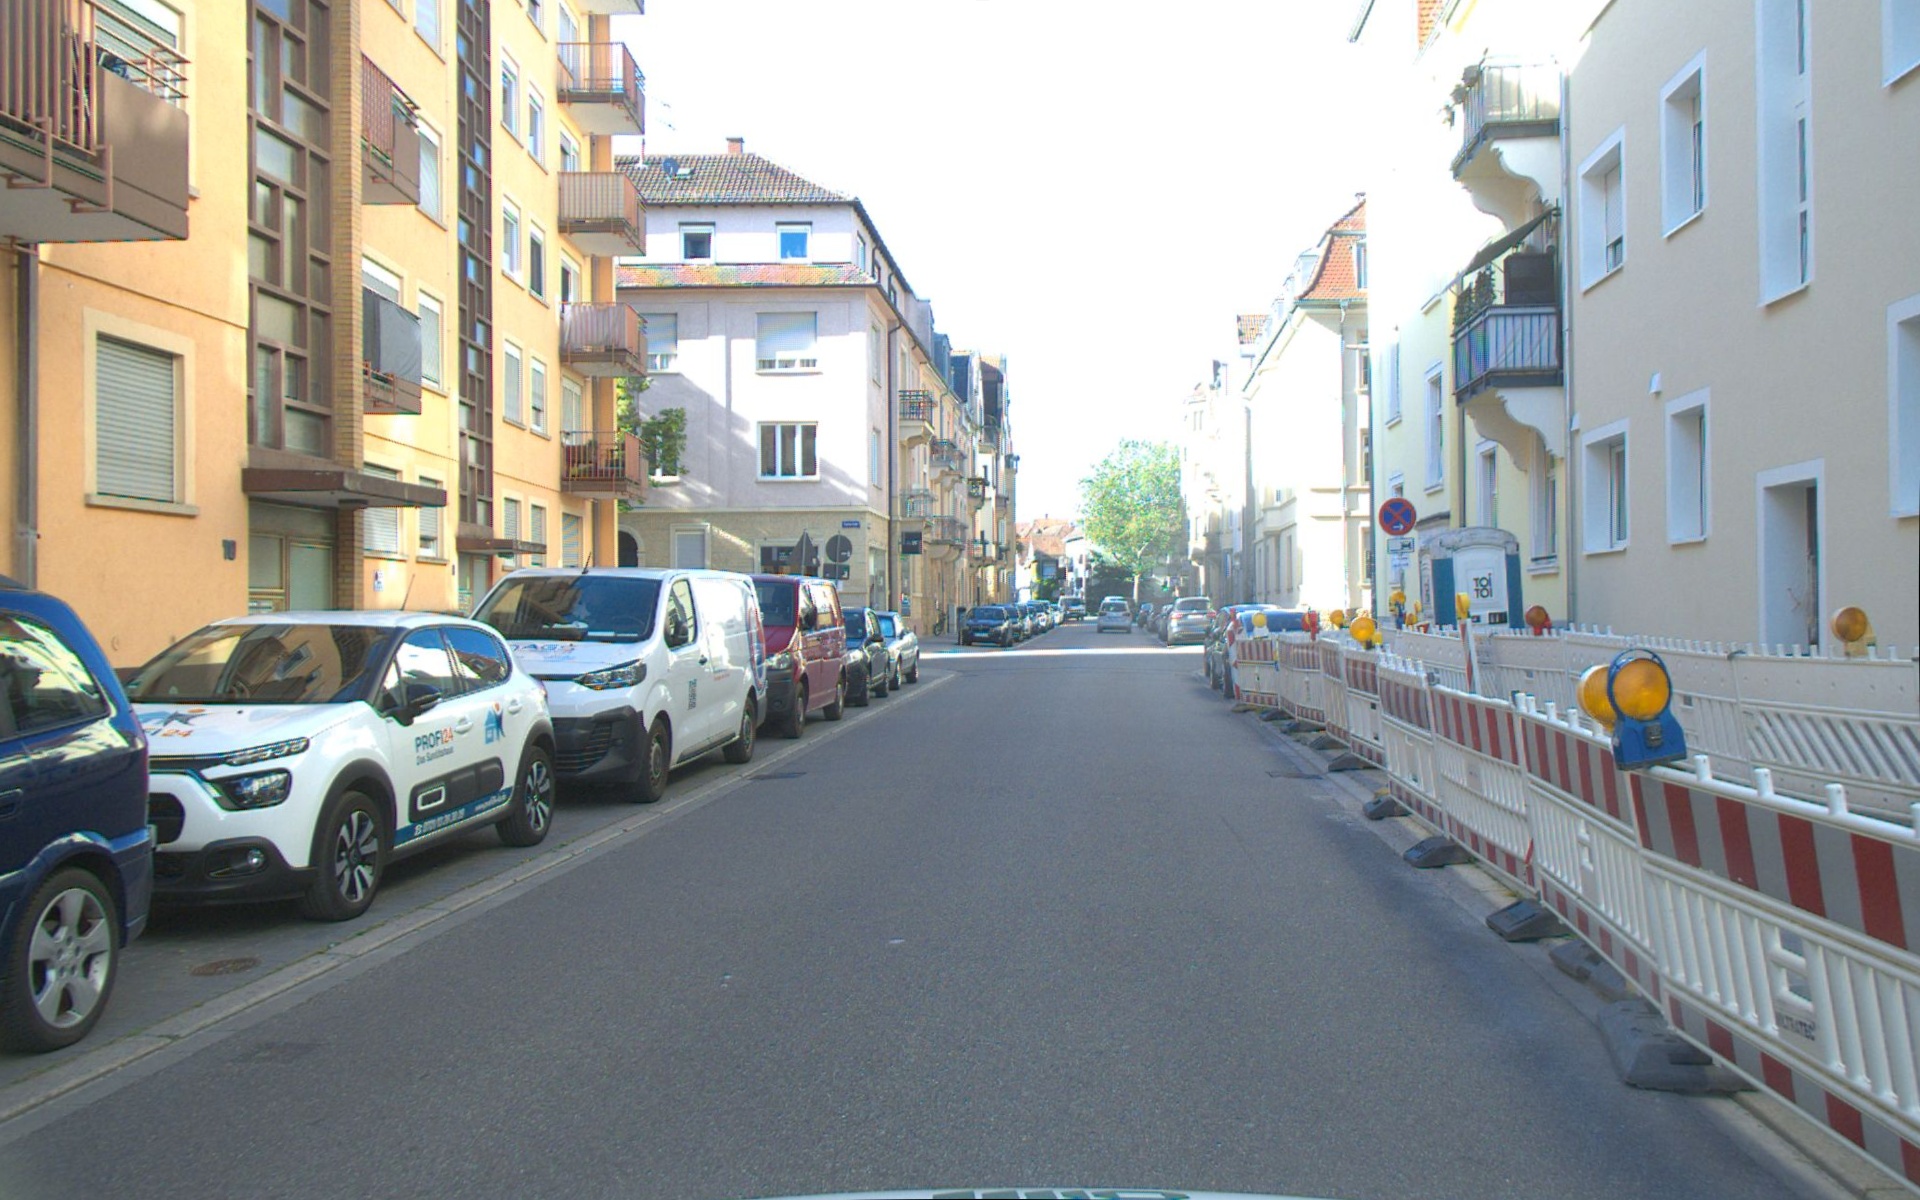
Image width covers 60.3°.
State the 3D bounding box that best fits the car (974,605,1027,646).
[{"bbox_3d":[1.765,1.082,70.038,1.961,1.610,4.489,2,-1,4],"label":"car"}]

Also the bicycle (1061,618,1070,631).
[{"bbox_3d":[8.256,1.919,129.308,0.648,1.037,2.067,-2,-2,4],"label":"bicycle"}]

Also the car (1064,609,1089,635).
[{"bbox_3d":[9.754,1.843,138.640,1.961,2.035,4.489,2,-1,4],"label":"car"}]

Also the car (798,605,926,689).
[{"bbox_3d":[-1.811,0.863,32.007,1.725,1.401,4.481,3,0,6],"label":"car"}]

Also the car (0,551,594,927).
[{"bbox_3d":[-3.617,0.633,9.526,1.725,1.649,4.297,1,-1,5],"label":"car"}]

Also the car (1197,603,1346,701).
[{"bbox_3d":[5.344,0.857,28.997,1.764,1.496,5.112,-2,-1,2],"label":"car"}]

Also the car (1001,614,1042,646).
[{"bbox_3d":[3.268,1.581,86.548,1.937,1.508,4.330,2,-1,4],"label":"car"}]

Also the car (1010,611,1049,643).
[{"bbox_3d":[3.860,1.497,91.139,1.961,1.647,4.489,2,-1,4],"label":"car"}]

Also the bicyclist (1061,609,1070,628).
[{"bbox_3d":[8.258,1.435,129.337,0.648,1.410,0.754,-2,-2,4],"label":"bicyclist"}]

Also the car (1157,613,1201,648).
[{"bbox_3d":[9.869,1.403,74.637,1.799,1.457,4.031,-1,-2,6],"label":"car"}]

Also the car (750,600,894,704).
[{"bbox_3d":[-2.146,0.800,26.722,1.725,1.529,4.002,-1,-1,4],"label":"car"}]

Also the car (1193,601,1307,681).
[{"bbox_3d":[5.934,0.820,34.243,1.726,1.496,4.085,-2,-1,2],"label":"car"}]

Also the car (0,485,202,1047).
[{"bbox_3d":[-4.012,0.513,4.380,1.725,1.802,4.296,1,-1,5],"label":"car"}]

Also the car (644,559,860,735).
[{"bbox_3d":[-2.500,0.550,21.116,1.725,1.959,4.937,1,-1,5],"label":"car"}]

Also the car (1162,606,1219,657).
[{"bbox_3d":[8.127,1.140,58.478,1.872,1.673,4.776,-1,-2,7],"label":"car"}]

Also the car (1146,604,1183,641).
[{"bbox_3d":[10.774,1.195,87.423,1.799,1.818,4.030,-1,-3,6],"label":"car"}]

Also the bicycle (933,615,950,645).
[{"bbox_3d":[-0.848,1.362,75.599,0.529,1.324,1.868,1,-1,6],"label":"bicycle"}]

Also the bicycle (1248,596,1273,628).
[{"bbox_3d":[12.289,0.498,67.697,0.745,1.268,2.593,0,-1,5],"label":"bicycle"}]

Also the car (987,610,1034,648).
[{"bbox_3d":[2.406,1.359,77.545,1.961,1.647,4.489,2,-1,4],"label":"car"}]

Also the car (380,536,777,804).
[{"bbox_3d":[-3.131,0.538,14.933,1.934,1.959,5.312,1,-1,5],"label":"car"}]

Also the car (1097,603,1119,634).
[{"bbox_3d":[13.121,1.655,146.500,1.799,2.579,4.178,-1,-3,6],"label":"car"}]

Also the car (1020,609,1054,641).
[{"bbox_3d":[4.788,1.573,102.378,1.961,1.819,4.489,2,-1,4],"label":"car"}]

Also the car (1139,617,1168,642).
[{"bbox_3d":[12.404,1.883,106.172,1.799,1.457,4.030,-1,-3,6],"label":"car"}]

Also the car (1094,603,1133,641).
[{"bbox_3d":[8.280,1.227,89.489,1.961,1.947,4.489,2,-1,5],"label":"car"}]

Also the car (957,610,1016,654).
[{"bbox_3d":[0.995,1.166,59.491,1.644,1.451,4.276,2,-1,7],"label":"car"}]

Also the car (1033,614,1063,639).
[{"bbox_3d":[6.252,1.868,116.868,1.961,1.633,4.489,2,-1,4],"label":"car"}]

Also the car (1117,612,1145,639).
[{"bbox_3d":[13.464,2.028,130.301,1.961,2.035,4.489,2,-1,4],"label":"car"}]
